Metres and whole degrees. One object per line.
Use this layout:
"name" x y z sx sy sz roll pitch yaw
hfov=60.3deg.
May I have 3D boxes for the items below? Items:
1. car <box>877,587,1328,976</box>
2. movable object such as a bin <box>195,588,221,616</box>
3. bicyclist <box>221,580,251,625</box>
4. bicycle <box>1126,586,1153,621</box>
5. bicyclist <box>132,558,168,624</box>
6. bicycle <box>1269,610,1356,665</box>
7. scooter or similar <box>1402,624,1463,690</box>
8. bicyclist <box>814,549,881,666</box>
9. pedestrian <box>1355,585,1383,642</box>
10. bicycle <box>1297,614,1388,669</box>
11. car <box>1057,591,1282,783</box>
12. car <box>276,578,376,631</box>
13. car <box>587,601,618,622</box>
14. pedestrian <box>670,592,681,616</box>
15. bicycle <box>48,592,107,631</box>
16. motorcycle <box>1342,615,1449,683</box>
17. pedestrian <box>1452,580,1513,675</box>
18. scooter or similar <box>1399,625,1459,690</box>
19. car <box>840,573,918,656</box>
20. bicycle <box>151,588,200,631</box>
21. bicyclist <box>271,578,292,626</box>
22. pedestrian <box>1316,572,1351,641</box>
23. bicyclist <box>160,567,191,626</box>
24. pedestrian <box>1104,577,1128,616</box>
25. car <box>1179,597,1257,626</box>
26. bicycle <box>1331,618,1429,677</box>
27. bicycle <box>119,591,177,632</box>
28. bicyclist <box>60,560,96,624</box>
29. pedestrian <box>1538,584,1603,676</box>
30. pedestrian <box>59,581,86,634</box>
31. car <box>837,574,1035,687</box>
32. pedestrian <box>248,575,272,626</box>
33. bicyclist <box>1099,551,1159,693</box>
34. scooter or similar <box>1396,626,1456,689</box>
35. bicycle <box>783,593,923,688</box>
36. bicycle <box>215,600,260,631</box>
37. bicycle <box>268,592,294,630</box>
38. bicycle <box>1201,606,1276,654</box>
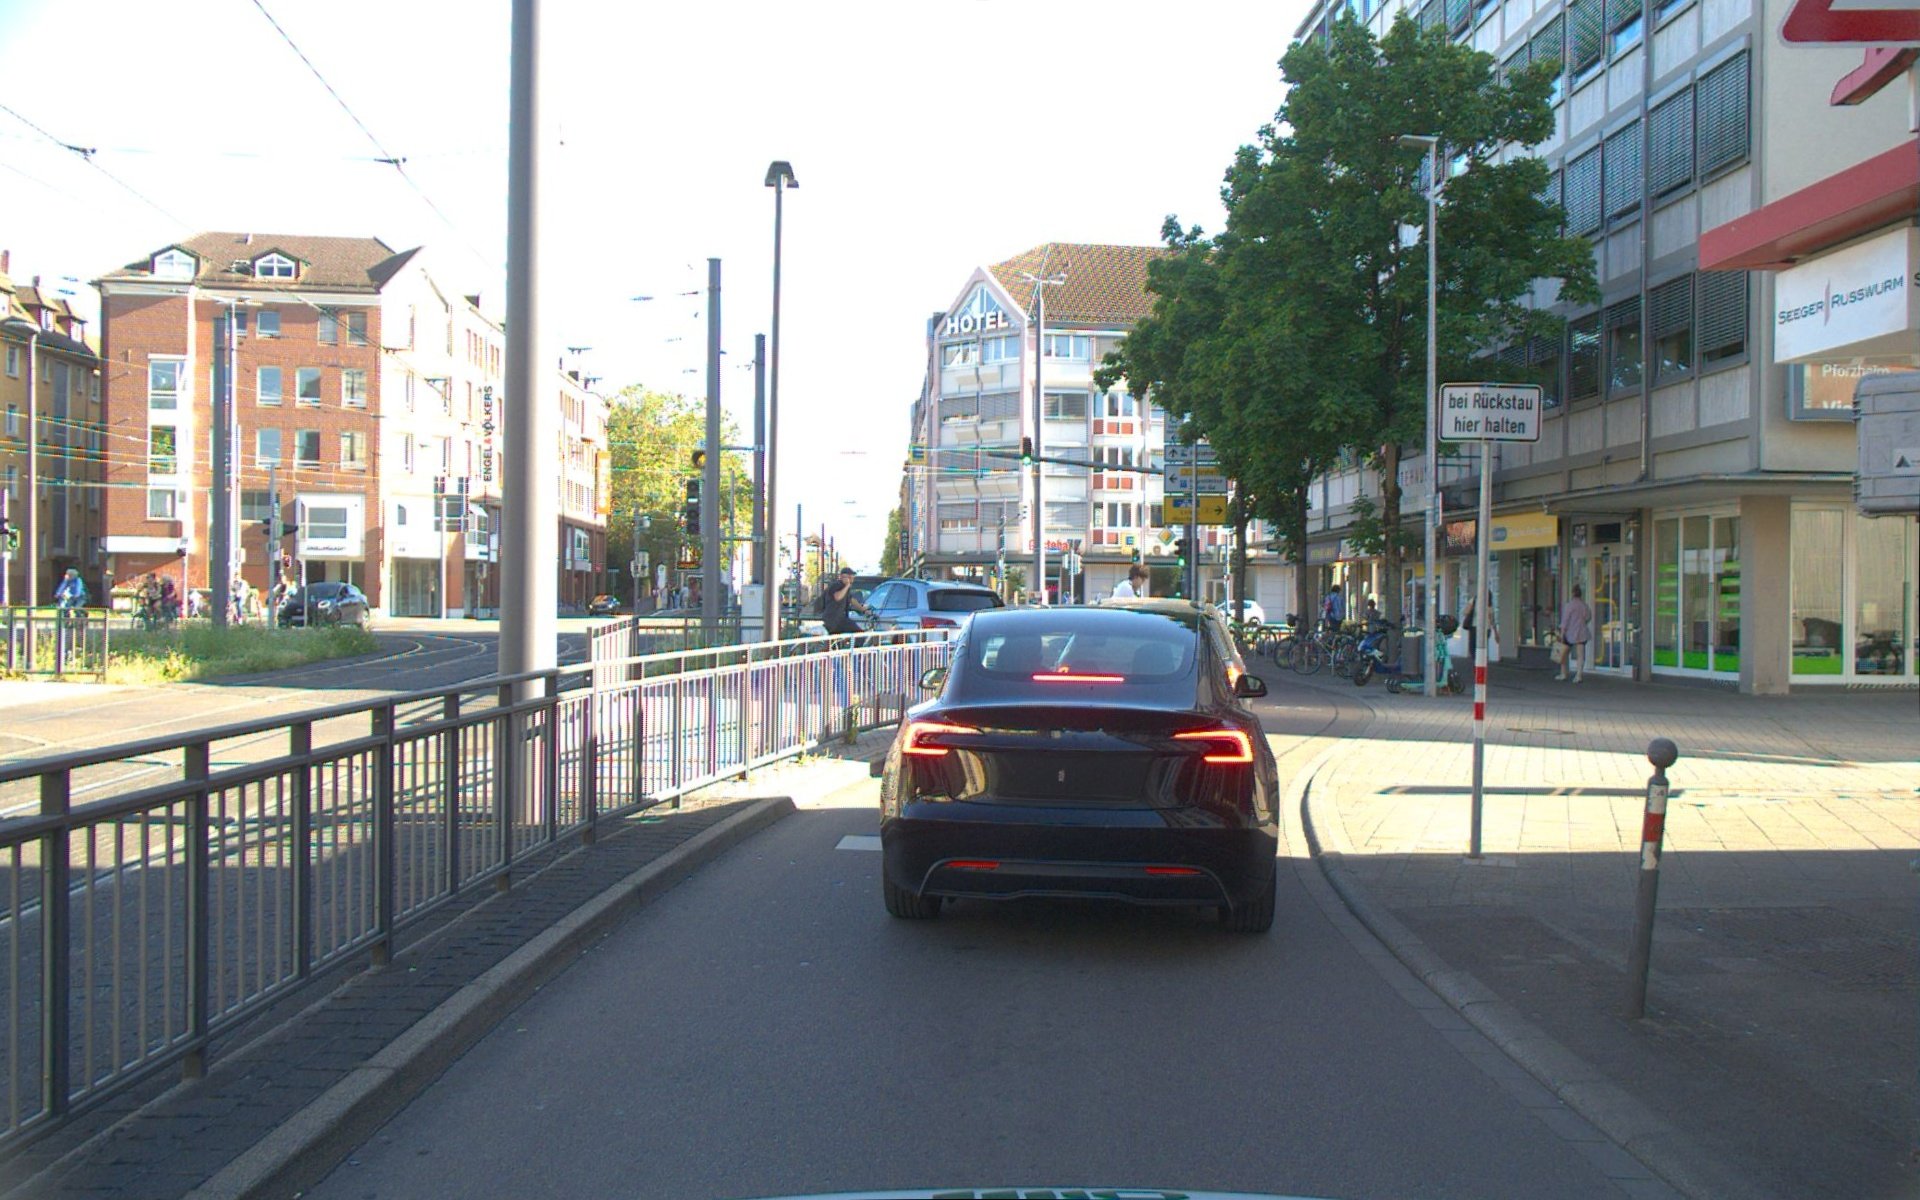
"car" 0.654 0.699 8.507 1.753 1.476 3.941 1 1 3
"movable object such as a bin" -39.272 0.097 86.390 0.978 1.462 1.093 1 0 -10
"bicyclist" -24.366 0.082 55.689 0.650 1.479 0.730 1 -1 0
"bicycle" 7.674 0.156 70.915 0.573 1.489 1.679 0 0 -16
"bicyclist" -21.258 -0.239 43.411 0.514 1.702 0.770 1 -1 0
"bicycle" 7.556 0.791 35.475 1.774 1.172 0.435 0 0 -5
"scooter or similar" 7.713 0.925 27.007 0.943 1.061 0.160 0 0 2
"bicyclist" -1.514 0.104 22.259 0.674 1.550 0.628 1 -1 -32
"pedestrian" 10.636 0.351 43.004 0.631 1.447 0.621 1 -1 10
"bicycle" 7.731 0.830 33.442 1.730 1.075 0.458 1 -1 4
"car" 1.792 0.664 15.206 1.727 1.469 4.531 1 0 4
"car" -20.316 0.149 53.203 1.650 1.588 4.121 1 0 -1
"car" -25.457 0.803 117.837 1.782 1.479 3.971 -1 0 -7
"pedestrian" -18.718 0.277 108.844 0.574 1.557 0.634 1 -1 -18
"bicycle" -23.617 0.305 44.276 0.519 1.031 1.885 1 0 1
"motorcycle" 7.718 0.866 29.316 1.751 1.149 0.504 1 -1 -3
"pedestrian" 9.766 0.502 30.946 0.826 1.737 0.880 1 -1 -1
"scooter or similar" 7.717 0.938 27.206 0.936 1.057 0.160 0 0 2
"car" -1.719 0.303 35.271 1.541 1.646 3.781 1 0 -3
"bicycle" -23.234 0.284 49.015 0.519 1.235 1.885 1 0 1
"bicyclist" -24.032 0.062 58.579 0.579 1.678 0.803 1 -1 -16
"pedestrian" 9.762 0.169 43.221 0.825 1.751 0.881 1 -1 10
"bicyclist" -23.222 -0.098 48.942 0.510 1.702 0.770 1 -1 0
"pedestrian" 6.675 -0.156 70.803 0.766 1.604 0.864 1 1 -16
"car" 13.504 0.597 86.684 3.766 1.457 1.801 1 -2 -6
"bicycle" 7.992 0.893 31.459 1.817 1.074 0.398 -1 0 -12
"bicycle" -21.268 0.302 43.347 0.519 1.031 1.897 1 0 1
"bicyclist" -23.607 -0.210 44.278 0.510 1.702 0.770 1 -1 0
"pedestrian" 11.030 0.535 29.914 0.826 1.630 0.880 1 -1 -1
"pedestrian" -29.872 0.250 55.696 0.613 1.717 0.703 1 1 -13
"car" -0.451 0.459 26.309 1.818 1.663 3.455 1 0 -27
"pedestrian" -28.479 0.029 67.320 0.582 2.049 0.830 1 -1 2
"bicyclist" 2.015 0.260 19.797 0.667 1.659 0.579 1 -1 4
"scooter or similar" 7.722 0.949 27.406 0.943 1.045 0.160 0 0 2
"bicycle" -1.432 0.540 22.310 1.802 1.233 0.635 1 -1 -32
"bicycle" -24.386 0.515 55.850 0.636 1.031 1.885 1 0 1
"bicycle" -24.065 0.400 58.635 0.564 1.313 2.019 1 0 -15
"bicycle" 7.167 0.770 42.589 1.851 1.177 0.480 -1 -1 0
